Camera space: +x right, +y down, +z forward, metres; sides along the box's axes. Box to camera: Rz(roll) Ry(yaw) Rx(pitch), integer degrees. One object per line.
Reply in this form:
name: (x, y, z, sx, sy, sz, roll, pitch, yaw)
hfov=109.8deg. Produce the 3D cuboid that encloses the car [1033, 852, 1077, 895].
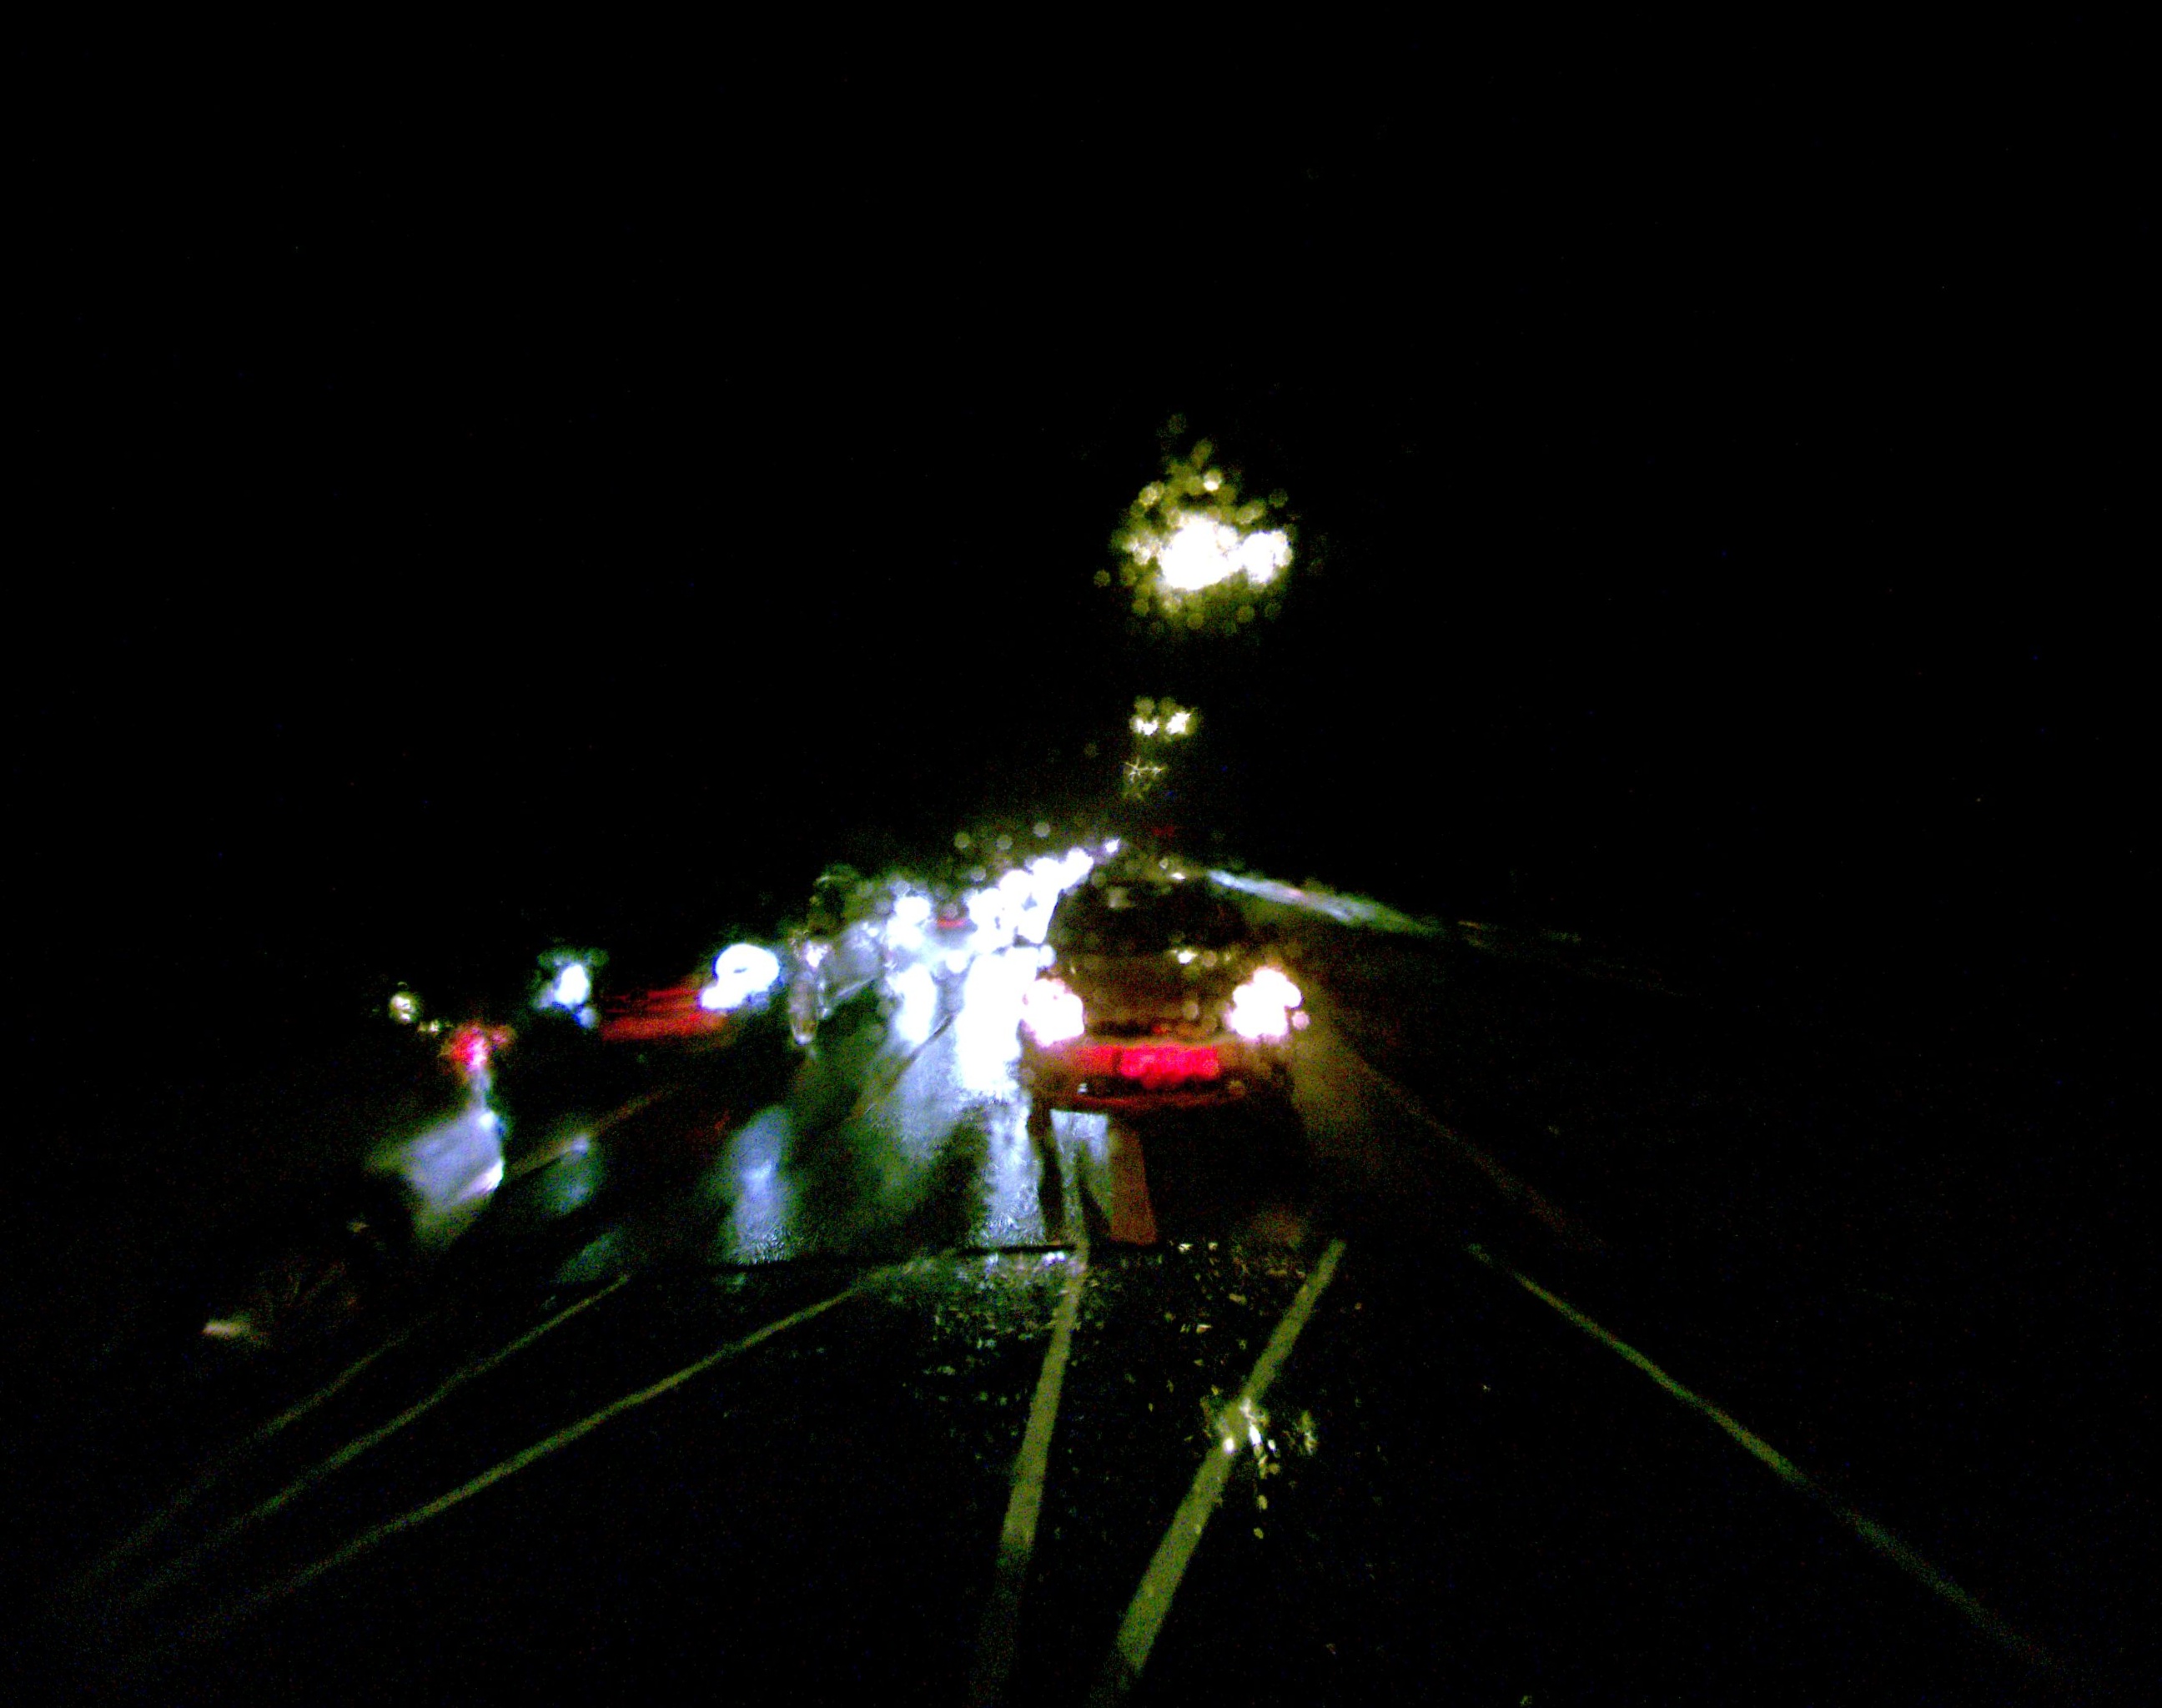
car: (-1.291, 0.966, 39.628, 1.998, 2.002, 3.999, -2, 1, 1)

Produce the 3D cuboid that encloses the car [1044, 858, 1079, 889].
car: (-1.170, 1.203, 47.677, 1.998, 1.789, 4.000, -1, 0, 1)

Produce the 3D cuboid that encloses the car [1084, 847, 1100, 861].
car: (1.346, -0.028, 93.528, 1.869, 1.654, 4.000, -1, 0, 2)

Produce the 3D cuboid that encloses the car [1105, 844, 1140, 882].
car: (2.347, 0.481, 43.851, 1.801, 2.002, 3.999, -2, 1, 1)

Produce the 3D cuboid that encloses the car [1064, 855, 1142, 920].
car: (0.578, 0.832, 20.628, 1.838, 1.417, 3.698, -4, 1, 1)

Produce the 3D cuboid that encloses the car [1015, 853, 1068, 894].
car: (-1.621, 0.788, 32.961, 1.998, 1.589, 4.391, -1, 1, 1)

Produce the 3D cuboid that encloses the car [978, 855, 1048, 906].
car: (-2.304, 0.871, 26.871, 1.998, 1.589, 4.391, -1, 1, 1)

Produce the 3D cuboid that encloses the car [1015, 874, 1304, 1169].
car: (0.439, 0.937, 5.731, 1.497, 1.416, 3.389, -2, 1, 1)

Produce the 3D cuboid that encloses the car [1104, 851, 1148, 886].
car: (2.241, 0.712, 38.643, 1.998, 1.574, 3.999, -2, 1, 1)

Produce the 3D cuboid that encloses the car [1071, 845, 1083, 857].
car: (-0.714, -0.468, 129.603, 1.998, 2.002, 3.999, -1, 1, 0)

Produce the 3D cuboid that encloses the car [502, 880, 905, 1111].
car: (-3.169, 1.083, 7.483, 1.743, 1.409, 4.140, -2, 1, 2)

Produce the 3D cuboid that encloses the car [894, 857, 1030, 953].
car: (-2.231, 0.898, 15.502, 1.998, 1.589, 4.391, -1, 1, 1)

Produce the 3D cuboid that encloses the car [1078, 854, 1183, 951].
car: (0.820, 0.779, 13.992, 1.606, 1.417, 3.389, -4, 1, 1)

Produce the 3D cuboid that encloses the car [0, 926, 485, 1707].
car: (-3.071, 1.071, 0.512, 1.711, 1.513, 4.414, -2, 1, 1)
